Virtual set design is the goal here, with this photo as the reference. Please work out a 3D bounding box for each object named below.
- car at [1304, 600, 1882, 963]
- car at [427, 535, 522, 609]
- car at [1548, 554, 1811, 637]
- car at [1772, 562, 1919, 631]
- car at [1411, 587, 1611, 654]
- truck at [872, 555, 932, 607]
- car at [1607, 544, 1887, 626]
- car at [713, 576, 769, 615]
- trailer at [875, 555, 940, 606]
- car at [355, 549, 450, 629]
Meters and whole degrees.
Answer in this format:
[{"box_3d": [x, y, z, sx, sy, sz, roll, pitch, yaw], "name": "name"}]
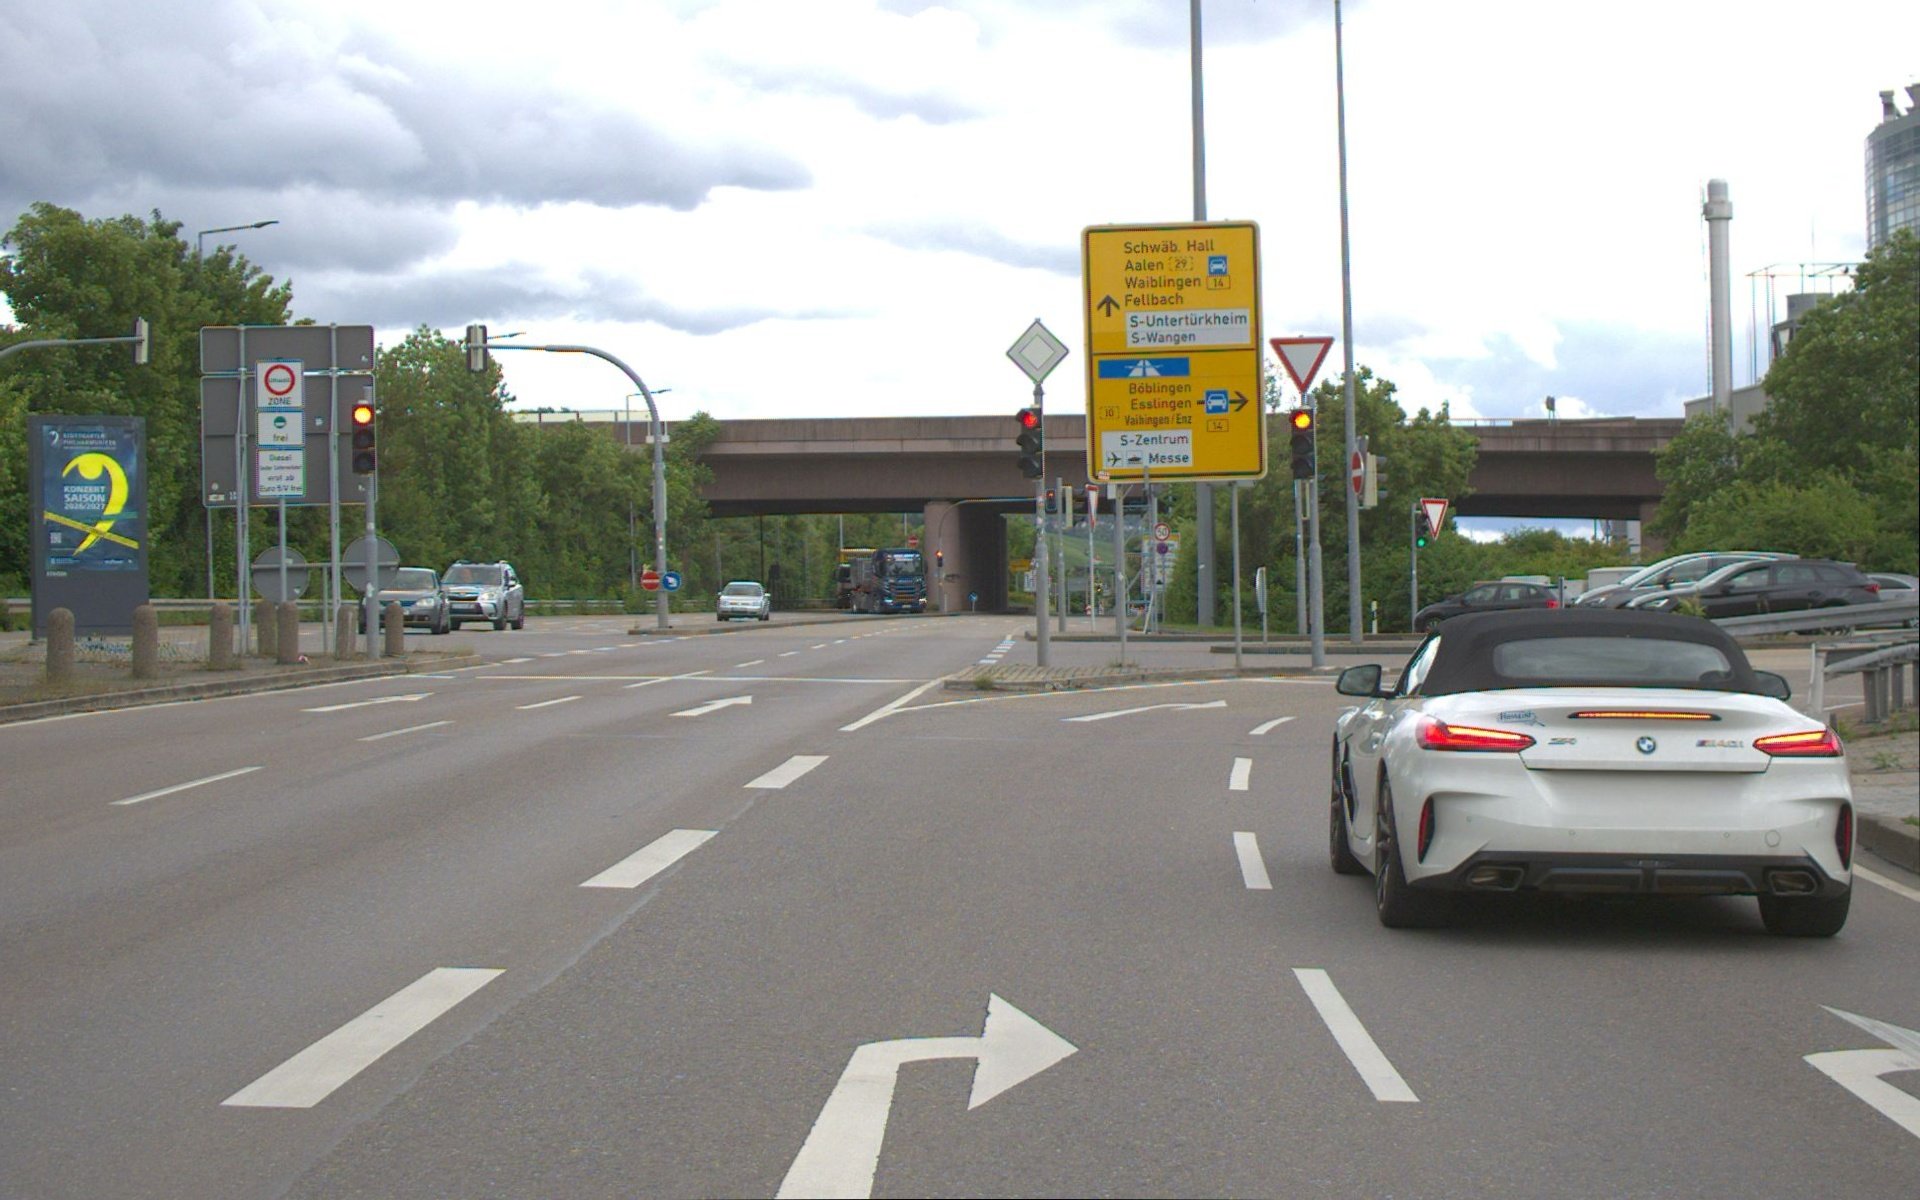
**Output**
[{"box_3d": [2.606, 0.687, 15.137, 1.805, 1.287, 4.263, 1, 1, 1], "name": "car"}, {"box_3d": [-11.796, -0.682, 83.744, 1.724, 1.731, 4.556, -1, 1, -1], "name": "car"}, {"box_3d": [13.909, -0.095, 66.633, 4.678, 1.566, 1.956, 0, 1, 0], "name": "car"}, {"box_3d": [20.057, -0.065, 75.287, 4.102, 1.437, 1.997, 0, -2, 25], "name": "car"}, {"box_3d": [12.704, 0.476, 79.338, 4.105, 1.459, 1.996, 0, -2, 36], "name": "car"}, {"box_3d": [-3.137, -1.040, 187.107, 2.612, 2.615, 5.779, 4, 1, 4], "name": "truck"}, {"box_3d": [14.304, -0.280, 62.663, 4.605, 1.452, 1.956, 0, 1, -3], "name": "car"}, {"box_3d": [-8.086, -0.174, 127.041, 1.724, 1.396, 4.066, -1, 1, 1], "name": "car"}, {"box_3d": [-2.878, -1.078, 191.659, 2.602, 2.615, 8.568, 4, 1, 5], "name": "trailer"}, {"box_3d": [-12.092, -0.217, 74.422, 1.724, 1.457, 4.245, 3, -3, -12], "name": "car"}]
